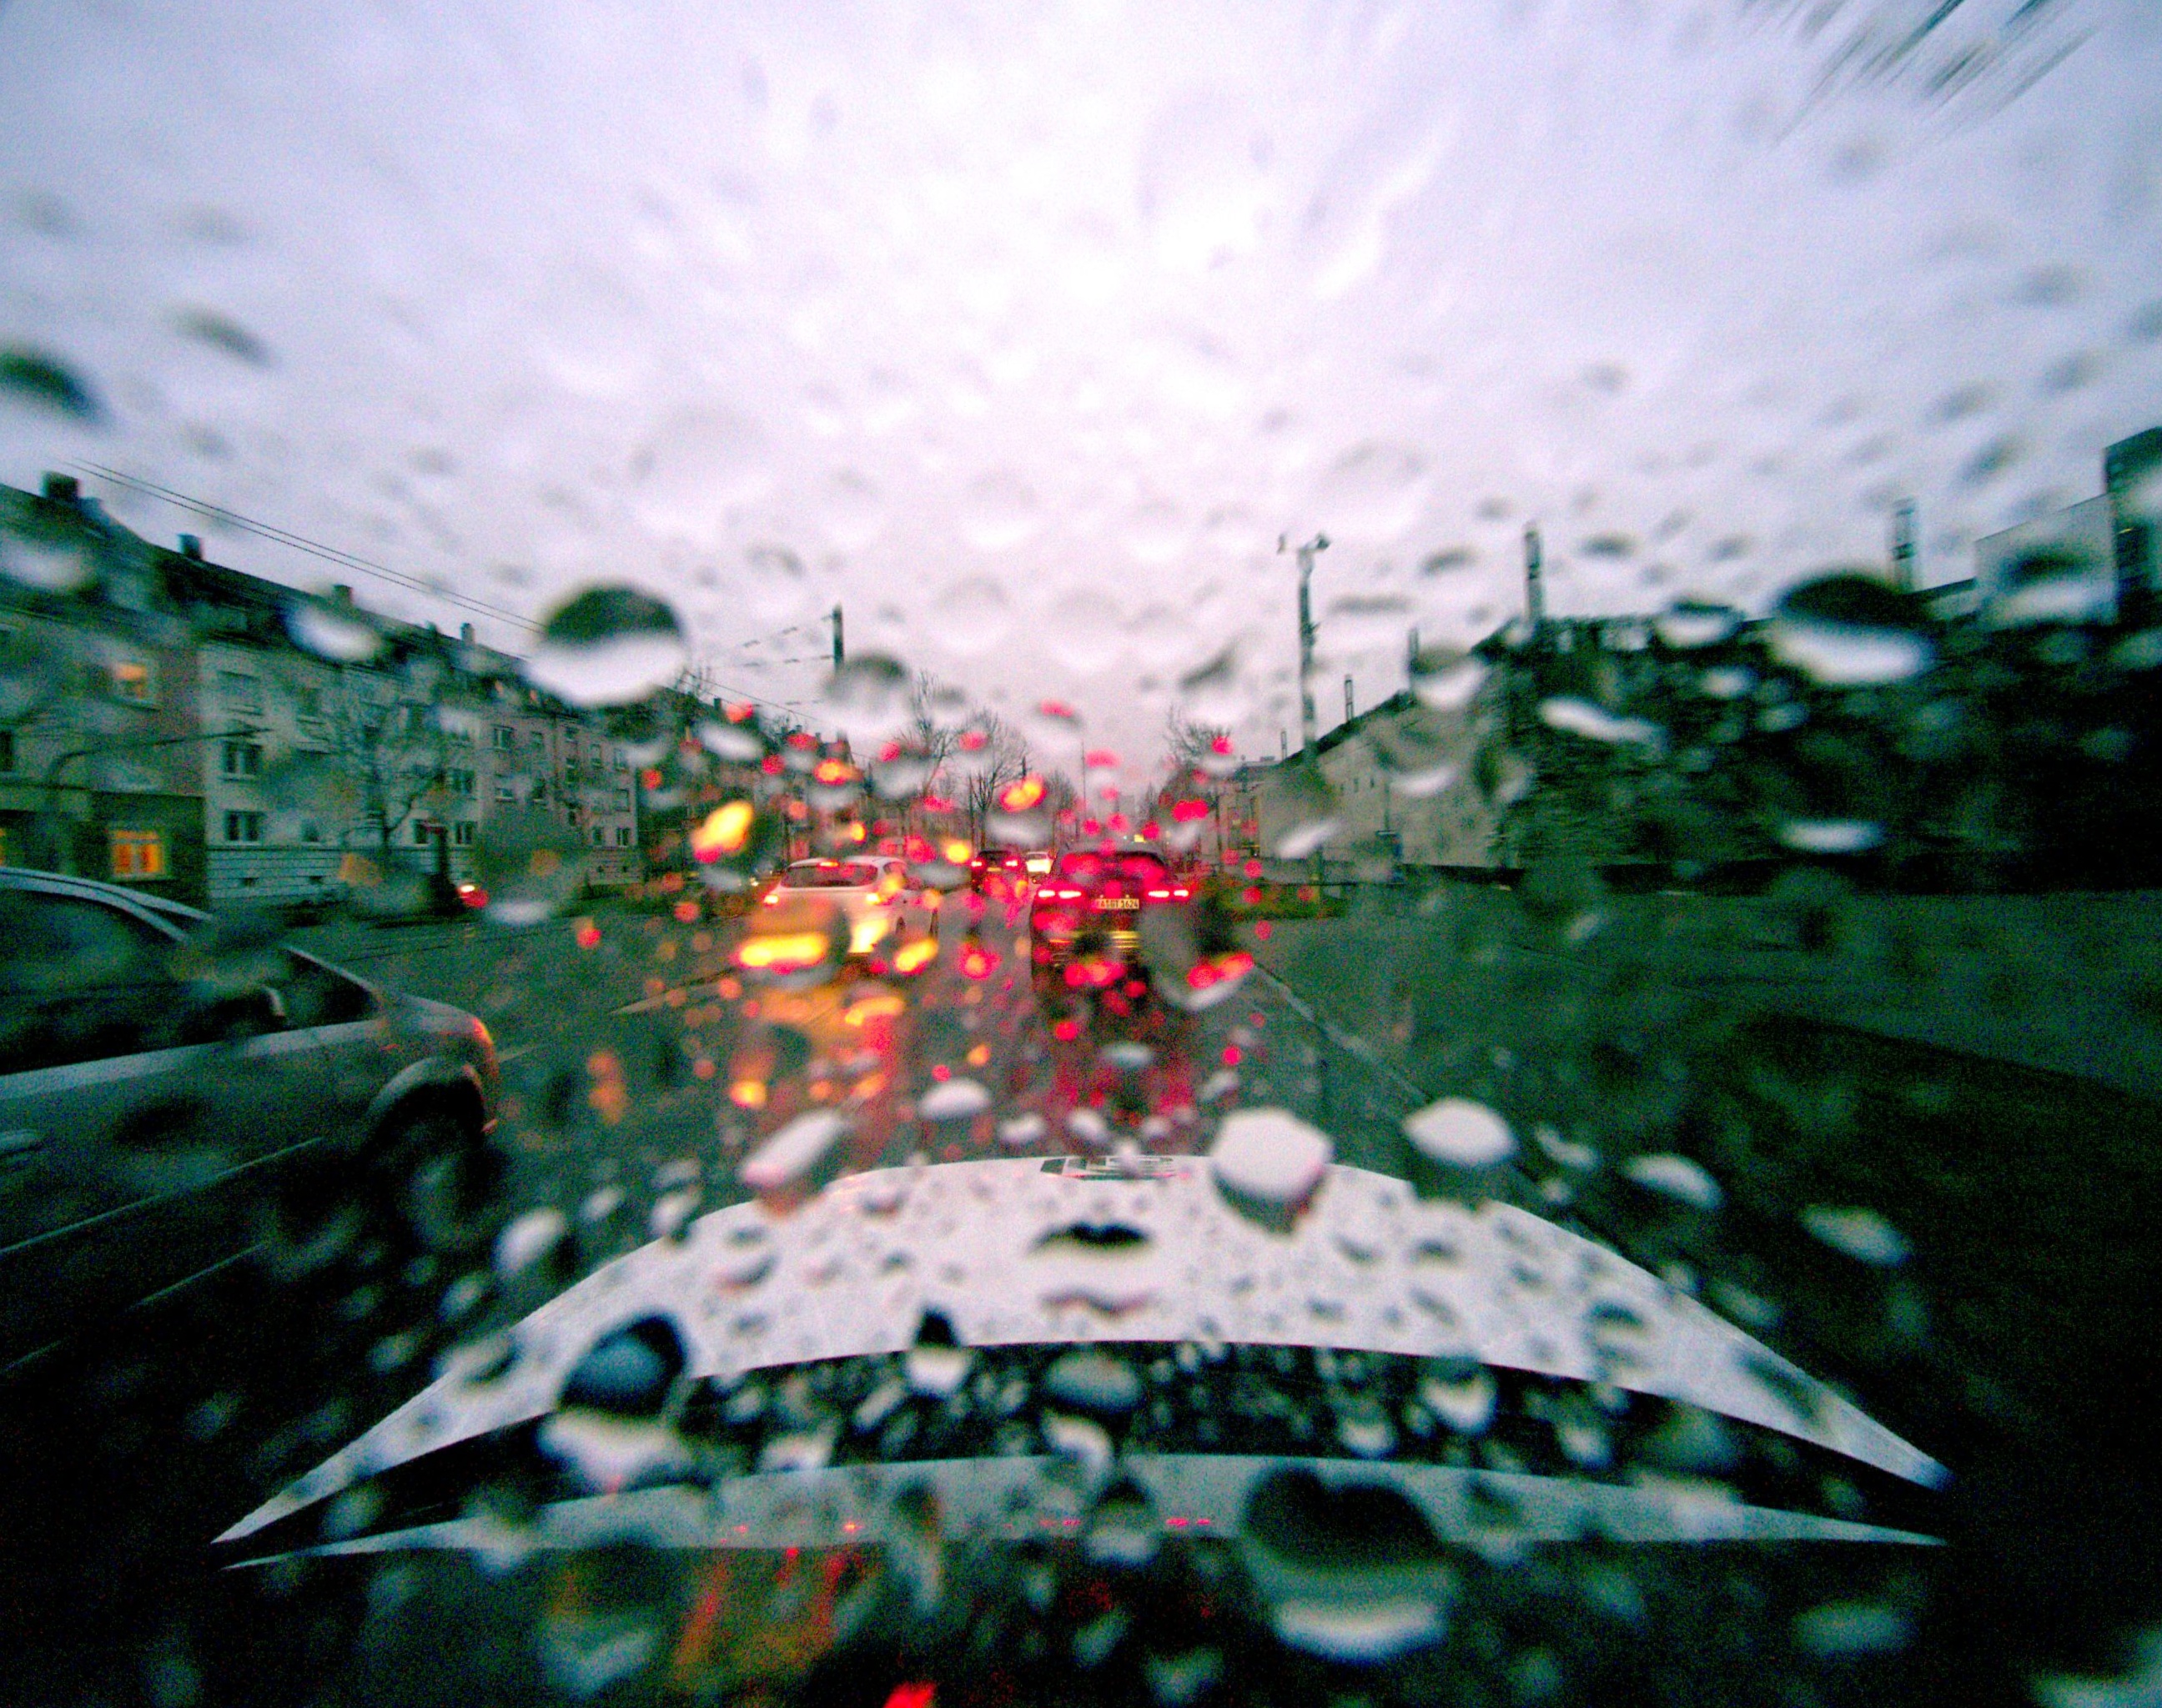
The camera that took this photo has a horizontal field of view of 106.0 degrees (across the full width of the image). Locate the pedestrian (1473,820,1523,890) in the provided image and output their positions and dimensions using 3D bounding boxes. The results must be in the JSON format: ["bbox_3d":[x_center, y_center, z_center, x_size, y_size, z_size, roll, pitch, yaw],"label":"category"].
[{"bbox_3d":[10.011,0.012,19.579,0.619,1.610,1.067,-2,0,0],"label":"pedestrian"}]

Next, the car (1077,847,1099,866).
[{"bbox_3d":[0.753,0.307,87.202,1.984,2.014,4.005,0,-1,5],"label":"car"}]

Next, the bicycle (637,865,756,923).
[{"bbox_3d":[-8.883,0.895,18.944,2.406,1.171,1.031,-2,0,-24],"label":"bicycle"}]

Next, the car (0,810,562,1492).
[{"bbox_3d":[-3.450,0.711,1.995,1.804,1.600,4.051,-1,0,-1],"label":"car"}]

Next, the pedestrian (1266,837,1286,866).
[{"bbox_3d":[11.350,-0.132,47.361,0.934,1.618,0.695,-2,0,0],"label":"pedestrian"}]

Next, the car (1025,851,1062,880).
[{"bbox_3d":[-2.116,0.631,47.080,1.664,1.600,4.058,-1,0,4],"label":"car"}]

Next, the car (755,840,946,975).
[{"bbox_3d":[-3.121,0.642,11.860,1.667,1.600,4.051,-1,0,-1],"label":"car"}]

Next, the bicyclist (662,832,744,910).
[{"bbox_3d":[-8.791,0.372,19.007,1.645,1.700,1.031,-2,0,-24],"label":"bicyclist"}]

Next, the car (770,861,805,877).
[{"bbox_3d":[-27.271,1.379,75.807,1.768,1.354,3.560,-2,0,3],"label":"car"}]

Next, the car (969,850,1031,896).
[{"bbox_3d":[-3.014,0.678,31.168,1.664,1.600,4.058,-1,0,4],"label":"car"}]

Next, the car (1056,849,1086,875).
[{"bbox_3d":[-0.770,0.668,66.299,1.984,2.014,4.006,0,-1,5],"label":"car"}]

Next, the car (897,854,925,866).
[{"bbox_3d":[-22.716,0.810,108.604,3.510,1.354,1.793,-2,0,37],"label":"car"}]

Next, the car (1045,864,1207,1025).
[{"bbox_3d":[0.617,0.974,10.499,1.664,1.600,4.058,-1,0,4],"label":"car"}]
